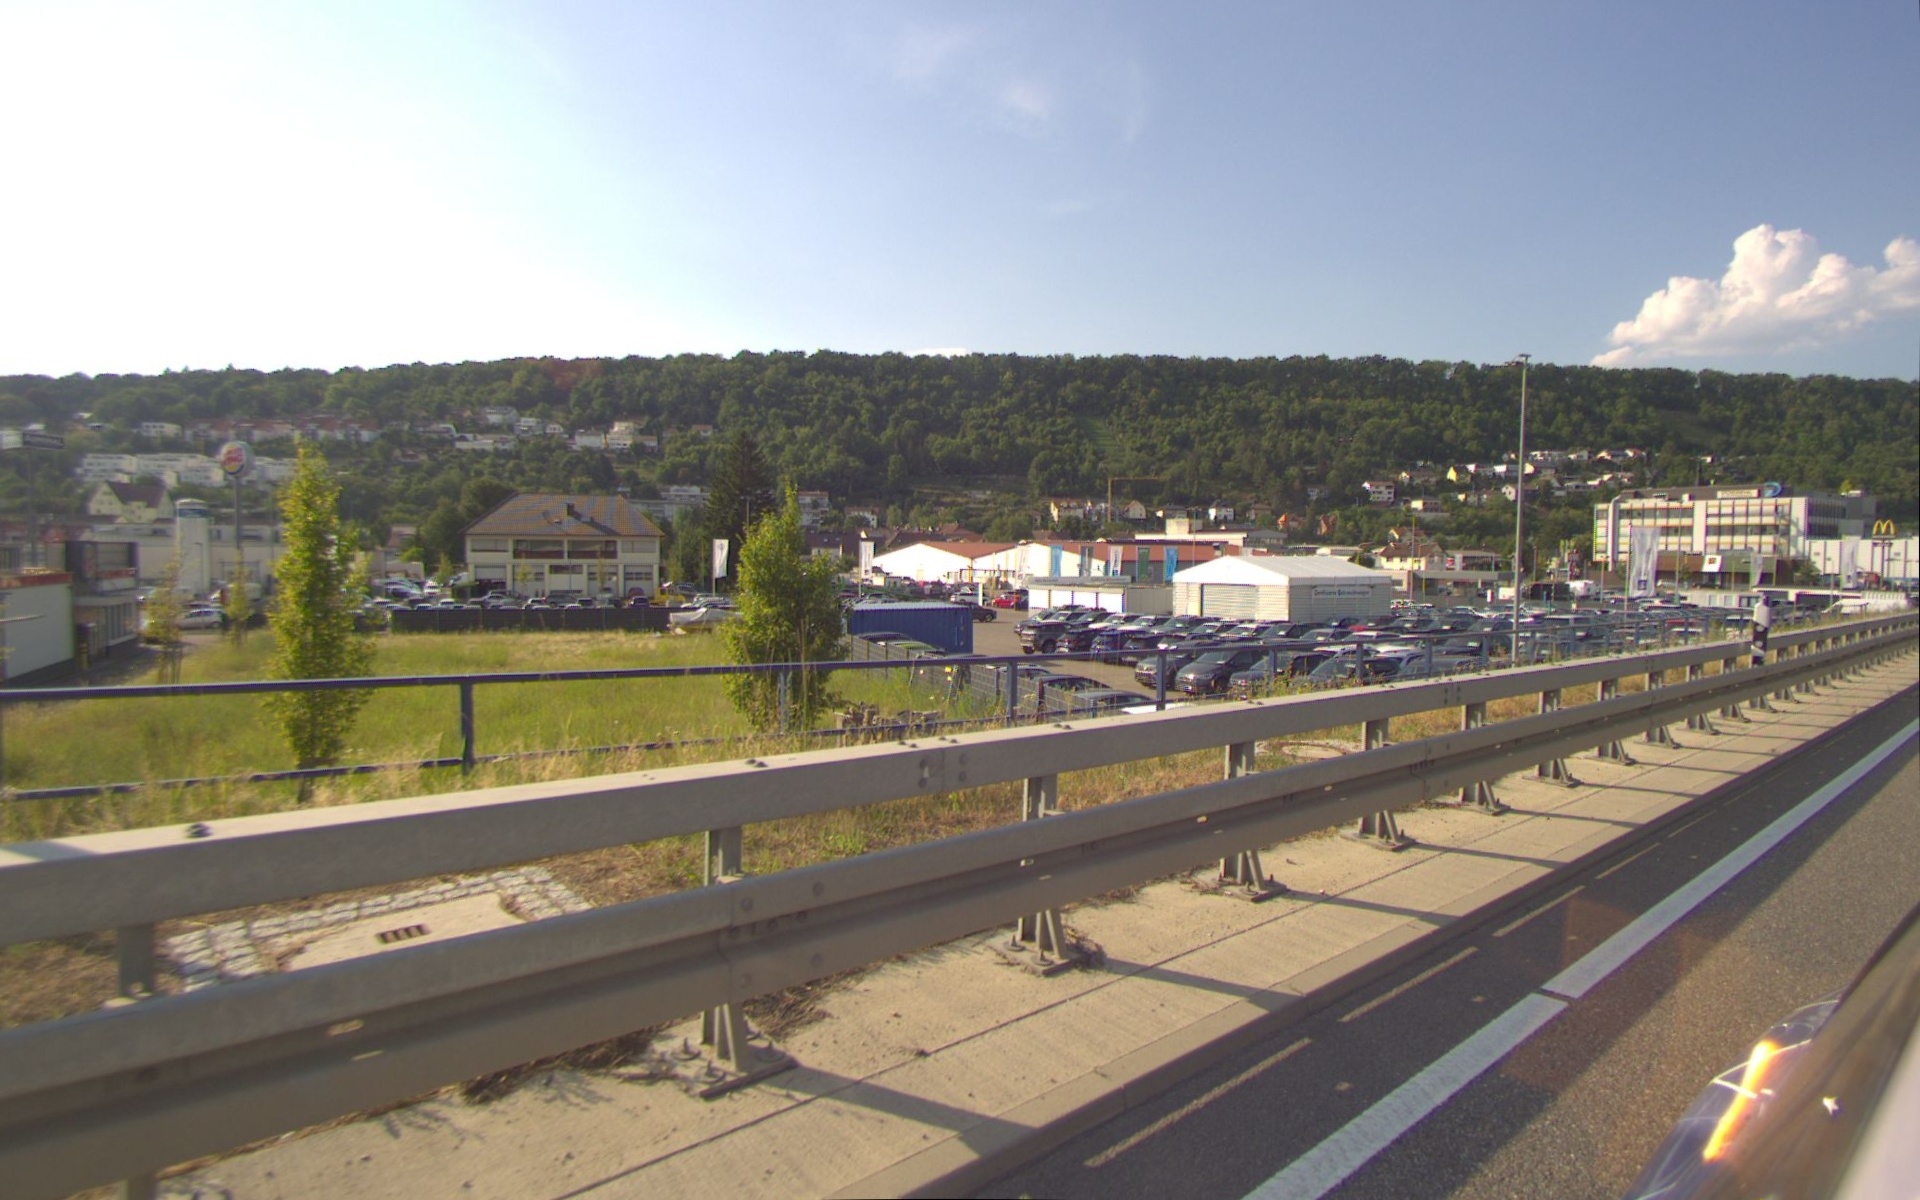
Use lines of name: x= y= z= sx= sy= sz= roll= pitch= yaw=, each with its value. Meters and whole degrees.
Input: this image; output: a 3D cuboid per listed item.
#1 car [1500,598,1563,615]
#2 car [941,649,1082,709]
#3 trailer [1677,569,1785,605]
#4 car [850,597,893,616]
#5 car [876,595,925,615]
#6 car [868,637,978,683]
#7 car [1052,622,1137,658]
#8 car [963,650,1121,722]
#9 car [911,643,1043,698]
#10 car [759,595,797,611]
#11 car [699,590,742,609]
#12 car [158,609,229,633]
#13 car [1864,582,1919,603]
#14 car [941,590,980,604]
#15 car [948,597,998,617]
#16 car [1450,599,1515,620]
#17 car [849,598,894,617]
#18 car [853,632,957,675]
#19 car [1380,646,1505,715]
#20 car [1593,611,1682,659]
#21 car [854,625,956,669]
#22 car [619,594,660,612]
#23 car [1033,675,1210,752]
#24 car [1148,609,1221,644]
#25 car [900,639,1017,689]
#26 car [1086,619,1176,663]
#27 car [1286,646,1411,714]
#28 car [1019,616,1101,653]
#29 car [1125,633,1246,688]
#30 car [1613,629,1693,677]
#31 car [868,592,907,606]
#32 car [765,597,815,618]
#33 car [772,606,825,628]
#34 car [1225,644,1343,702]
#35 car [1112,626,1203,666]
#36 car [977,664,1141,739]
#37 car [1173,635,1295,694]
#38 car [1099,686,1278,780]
car: x=49.499 y=0.531 z=87.702 sx=1.766 sy=1.386 sz=4.434 roll=-1 pitch=1 yaw=-33
car: x=1.601 y=2.411 z=31.410 sx=3.919 sy=1.482 sz=1.962 roll=-1 pitch=1 yaw=-29
trailer: x=76.210 y=-1.265 z=100.166 sx=3.296 sy=3.364 sz=7.902 roll=-1 pitch=1 yaw=-36
car: x=-8.293 y=0.582 z=94.556 sx=3.701 sy=1.597 sz=1.756 roll=-1 pitch=1 yaw=-19
car: x=-4.974 y=0.394 z=84.201 sx=3.701 sy=1.597 sz=1.756 roll=-1 pitch=1 yaw=-19
car: x=-1.442 y=2.309 z=39.524 sx=3.918 sy=1.482 sz=1.714 roll=-1 pitch=1 yaw=-25
car: x=6.415 y=1.877 z=48.099 sx=3.926 sy=1.482 sz=1.711 roll=-2 pitch=1 yaw=-37
car: x=2.385 y=2.435 z=29.288 sx=4.158 sy=1.662 sz=1.962 roll=-1 pitch=1 yaw=-29
car: x=0.578 y=2.294 z=33.624 sx=3.919 sy=1.482 sz=1.962 roll=-1 pitch=1 yaw=-29
car: x=-19.240 y=0.309 z=107.016 sx=3.702 sy=1.597 sz=1.756 roll=-1 pitch=1 yaw=-24
car: x=-22.399 y=-0.061 z=94.629 sx=3.701 sy=1.597 sz=1.756 roll=-1 pitch=1 yaw=-21
car: x=-55.031 y=1.493 z=72.740 sx=3.701 sy=1.597 sz=1.756 roll=-1 pitch=1 yaw=-21
car: x=83.324 y=-0.662 z=90.062 sx=1.868 sy=1.772 sz=3.996 roll=-1 pitch=1 yaw=-39
car: x=0.074 y=-0.356 z=117.259 sx=4.138 sy=1.521 sz=1.593 roll=-1 pitch=1 yaw=-18
car: x=1.047 y=0.568 z=83.332 sx=3.701 sy=1.597 sz=1.756 roll=-1 pitch=1 yaw=-19
car: x=42.994 y=0.772 z=83.334 sx=1.766 sy=1.562 sz=4.434 roll=-1 pitch=1 yaw=-33
car: x=-8.057 y=0.643 z=92.245 sx=3.701 sy=1.597 sz=1.756 roll=-1 pitch=1 yaw=-19
car: x=-2.256 y=2.148 z=41.464 sx=3.918 sy=1.482 sz=1.714 roll=-1 pitch=1 yaw=-25
car: x=13.398 y=2.164 z=28.023 sx=3.931 sy=1.482 sz=1.709 roll=-2 pitch=1 yaw=-41
car: x=24.255 y=1.196 z=36.170 sx=3.931 sy=1.482 sz=1.708 roll=-2 pitch=1 yaw=-41
car: x=-2.368 y=1.993 z=43.711 sx=3.919 sy=1.614 sz=1.962 roll=-1 pitch=1 yaw=-29
car: x=-30.712 y=0.283 z=96.953 sx=3.701 sy=1.597 sz=1.756 roll=-1 pitch=1 yaw=-21
car: x=3.919 y=2.683 z=24.510 sx=3.919 sy=1.371 sz=1.826 roll=-1 pitch=1 yaw=-28
car: x=12.396 y=1.437 z=55.728 sx=3.926 sy=1.705 sz=1.780 roll=-2 pitch=1 yaw=-37
car: x=-0.031 y=2.323 z=37.222 sx=3.920 sy=1.521 sz=1.815 roll=-1 pitch=1 yaw=-29
car: x=7.771 y=1.814 z=45.856 sx=3.926 sy=1.705 sz=1.780 roll=-2 pitch=1 yaw=-37
car: x=11.508 y=2.299 z=29.883 sx=3.929 sy=1.583 sz=1.710 roll=-2 pitch=1 yaw=-39
car: x=5.013 y=1.689 z=50.530 sx=3.926 sy=1.623 sz=1.711 roll=-2 pitch=1 yaw=-37
car: x=8.118 y=2.138 z=36.432 sx=3.919 sy=1.663 sz=1.962 roll=-1 pitch=1 yaw=-29
car: x=28.635 y=2.135 z=41.786 sx=3.765 sy=1.700 sz=1.617 roll=-2 pitch=1 yaw=-37
car: x=-7.792 y=-0.124 z=108.532 sx=3.916 sy=1.367 sz=1.593 roll=-1 pitch=1 yaw=-18
car: x=-14.051 y=0.607 z=83.612 sx=3.702 sy=1.597 sz=1.756 roll=-1 pitch=1 yaw=-24
car: x=-12.583 y=1.291 z=78.948 sx=3.702 sy=1.597 sz=1.756 roll=-1 pitch=1 yaw=-24
car: x=10.311 y=2.268 z=32.141 sx=3.929 sy=1.482 sz=1.710 roll=-2 pitch=1 yaw=-39
car: x=8.604 y=1.948 z=43.997 sx=3.926 sy=1.482 sz=1.711 roll=-2 pitch=1 yaw=-37
car: x=2.617 y=2.601 z=26.642 sx=3.919 sy=1.518 sz=1.826 roll=-1 pitch=1 yaw=-28
car: x=9.362 y=2.148 z=34.432 sx=4.274 sy=1.643 sz=1.711 roll=-2 pitch=1 yaw=-36
car: x=5.088 y=2.849 z=22.352 sx=3.926 sy=1.482 sz=1.711 roll=-2 pitch=1 yaw=-36
